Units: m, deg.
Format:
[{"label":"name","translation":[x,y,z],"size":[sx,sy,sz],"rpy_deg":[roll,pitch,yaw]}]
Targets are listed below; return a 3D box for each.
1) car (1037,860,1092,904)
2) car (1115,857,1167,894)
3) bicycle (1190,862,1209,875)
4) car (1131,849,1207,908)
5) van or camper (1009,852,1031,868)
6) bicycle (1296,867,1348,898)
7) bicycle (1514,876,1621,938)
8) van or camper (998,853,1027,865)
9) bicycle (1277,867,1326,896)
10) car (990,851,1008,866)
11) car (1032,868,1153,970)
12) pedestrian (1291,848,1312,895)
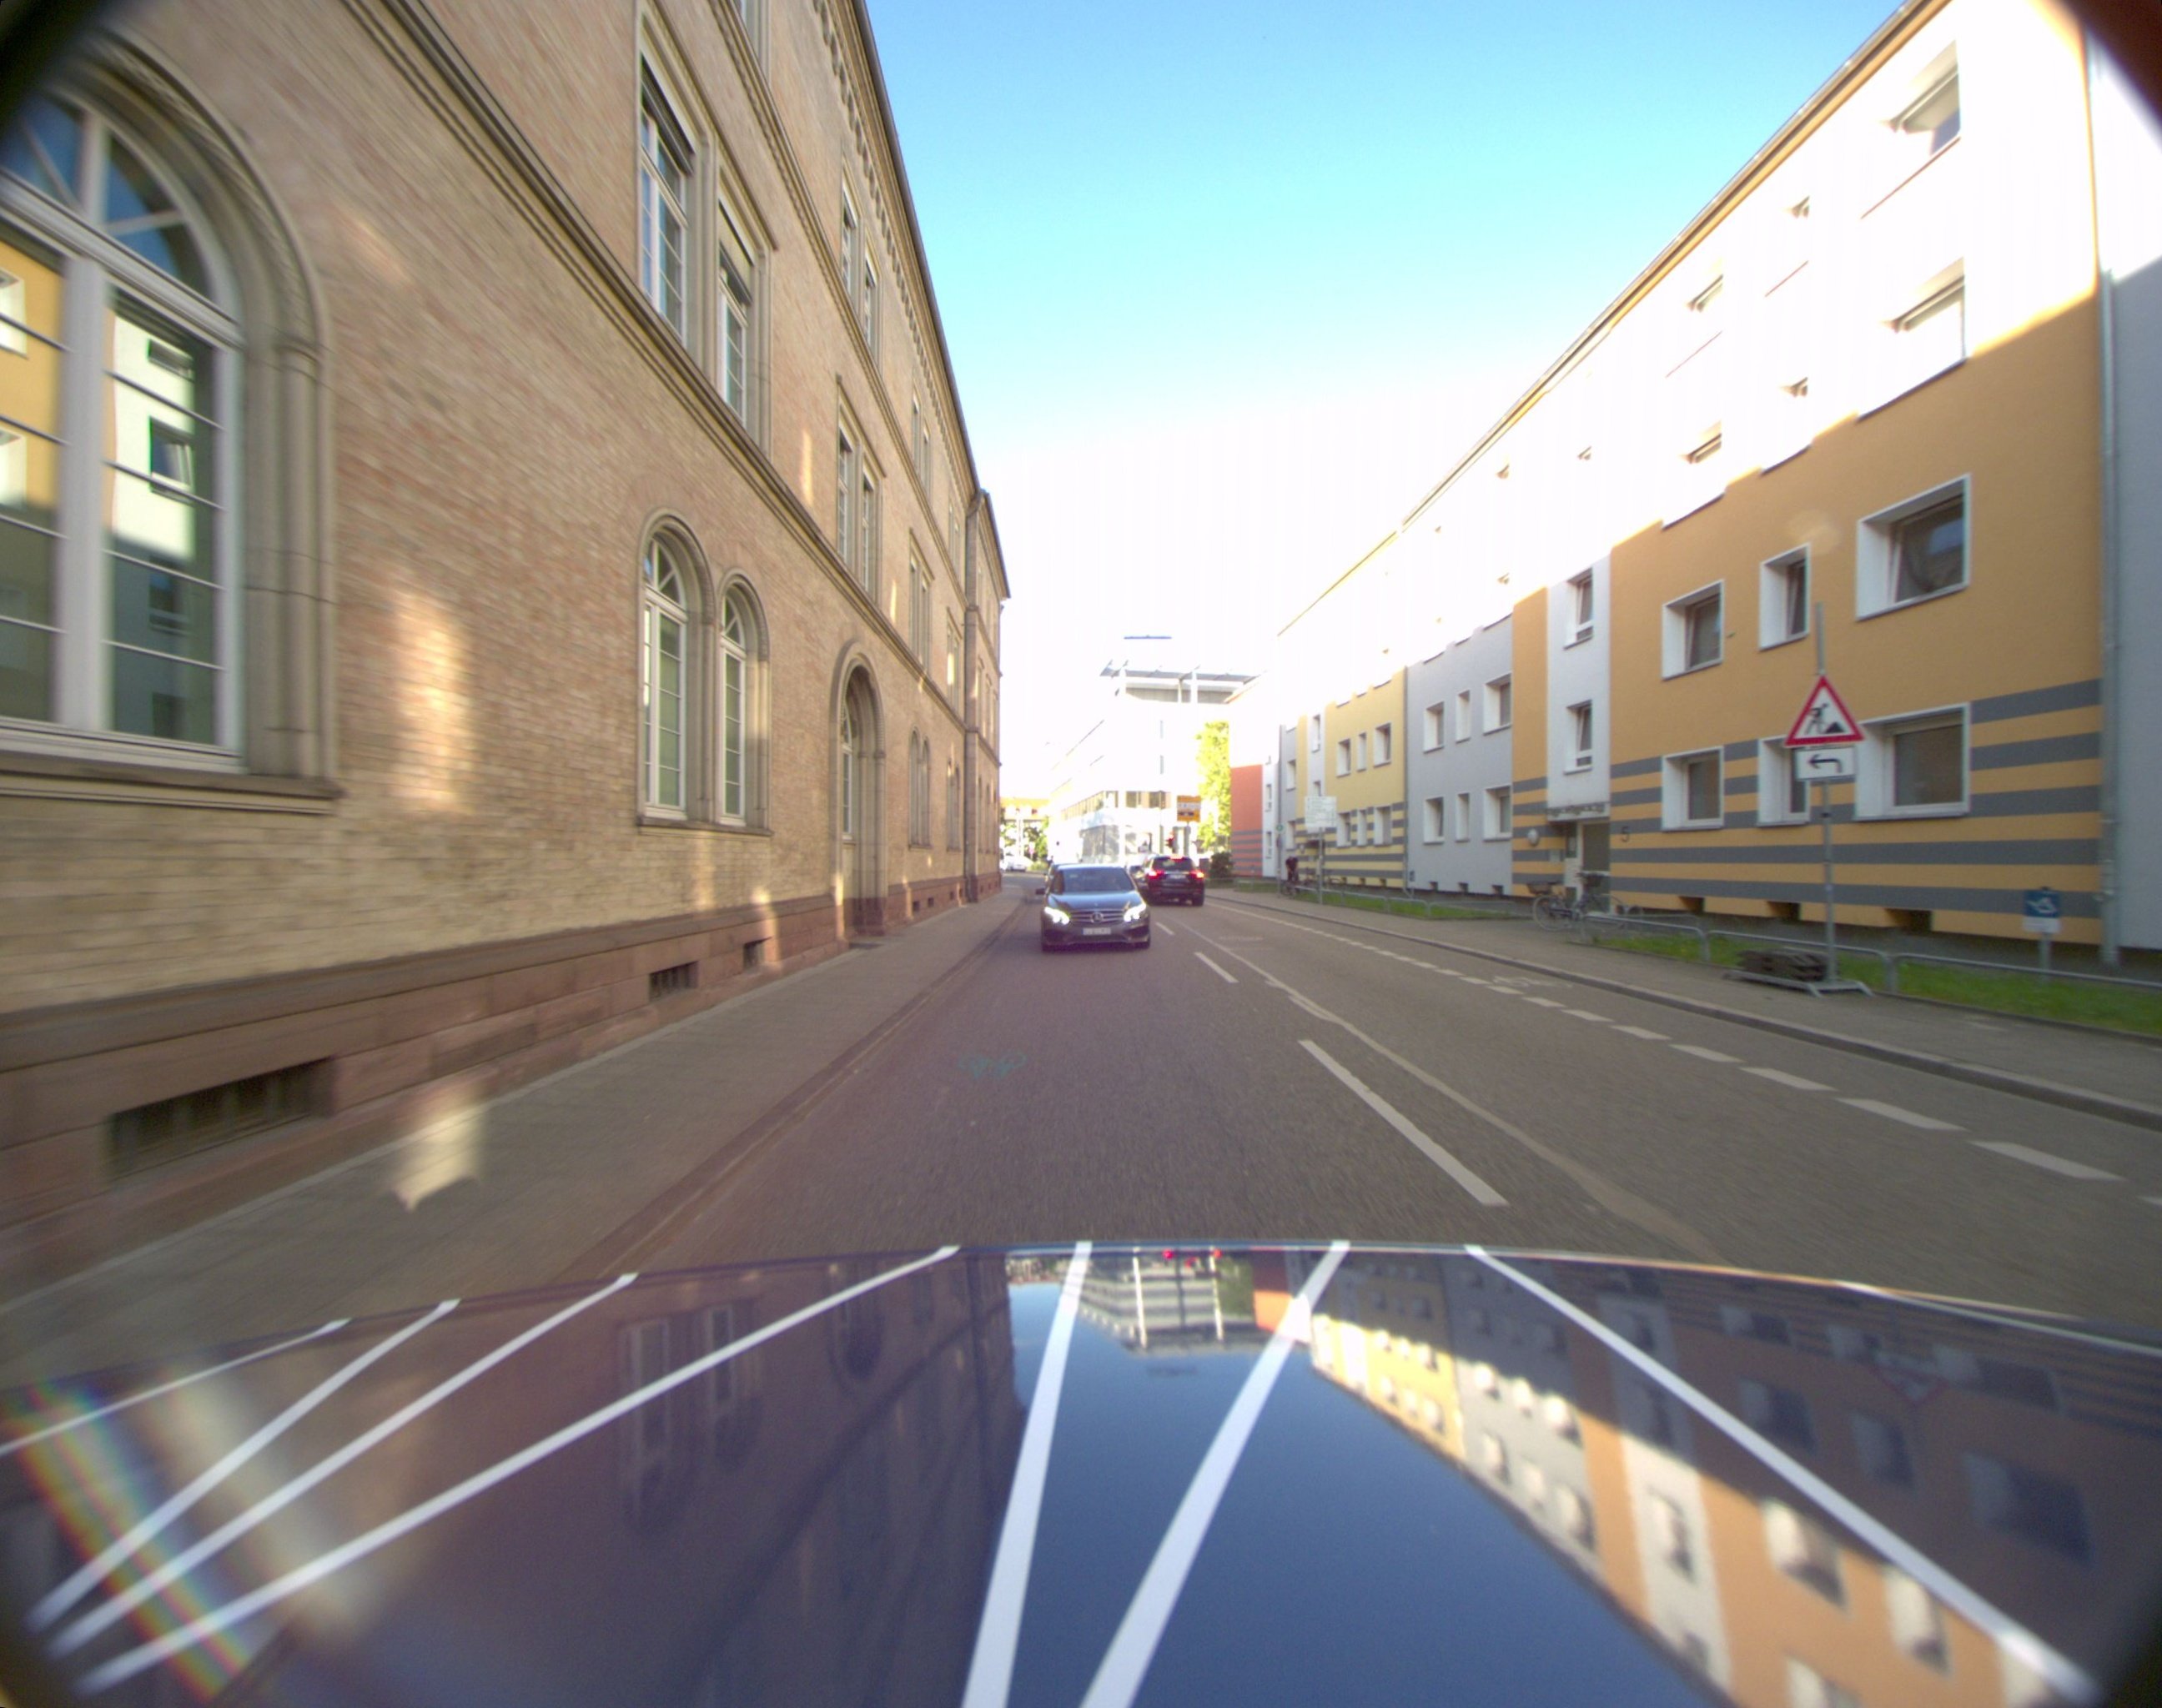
[{"label":"car","translation":[-0.569,1.042,30.167],"size":[1.746,1.594,4.002],"rpy_deg":[0,0,5]},{"label":"car","translation":[2.618,0.902,33.851],"size":[1.746,1.477,4.135],"rpy_deg":[2,0,-3]},{"label":"bicycle","translation":[10.900,1.298,69.986],"size":[0.471,1.175,1.987],"rpy_deg":[-1,1,-39]},{"label":"car","translation":[2.977,0.788,26.892],"size":[1.905,1.824,5.094],"rpy_deg":[2,0,-2]},{"label":"van or camper","translation":[-7.893,0.739,98.065],"size":[2.163,2.002,4.971],"rpy_deg":[0,0,-12]},{"label":"bicycle","translation":[9.163,1.075,28.895],"size":[1.757,1.138,0.650],"rpy_deg":[0,0,-9]},{"label":"bicycle","translation":[9.416,1.003,14.728],"size":[1.757,1.138,0.650],"rpy_deg":[0,0,-9]},{"label":"van or camper","translation":[-12.249,0.919,135.061],"size":[4.737,2.074,1.996],"rpy_deg":[0,0,-22]},{"label":"bicycle","translation":[8.787,1.085,30.262],"size":[1.757,1.138,0.650],"rpy_deg":[0,0,-9]},{"label":"car","translation":[-11.667,0.657,107.726],"size":[2.001,2.002,3.995],"rpy_deg":[0,0,-13]},{"label":"car","translation":[0.265,1.017,13.695],"size":[1.798,1.460,4.720],"rpy_deg":[0,0,2]},{"label":"pedestrian","translation":[8.886,0.702,30.619],"size":[0.720,1.844,0.871],"rpy_deg":[0,0,21]}]
